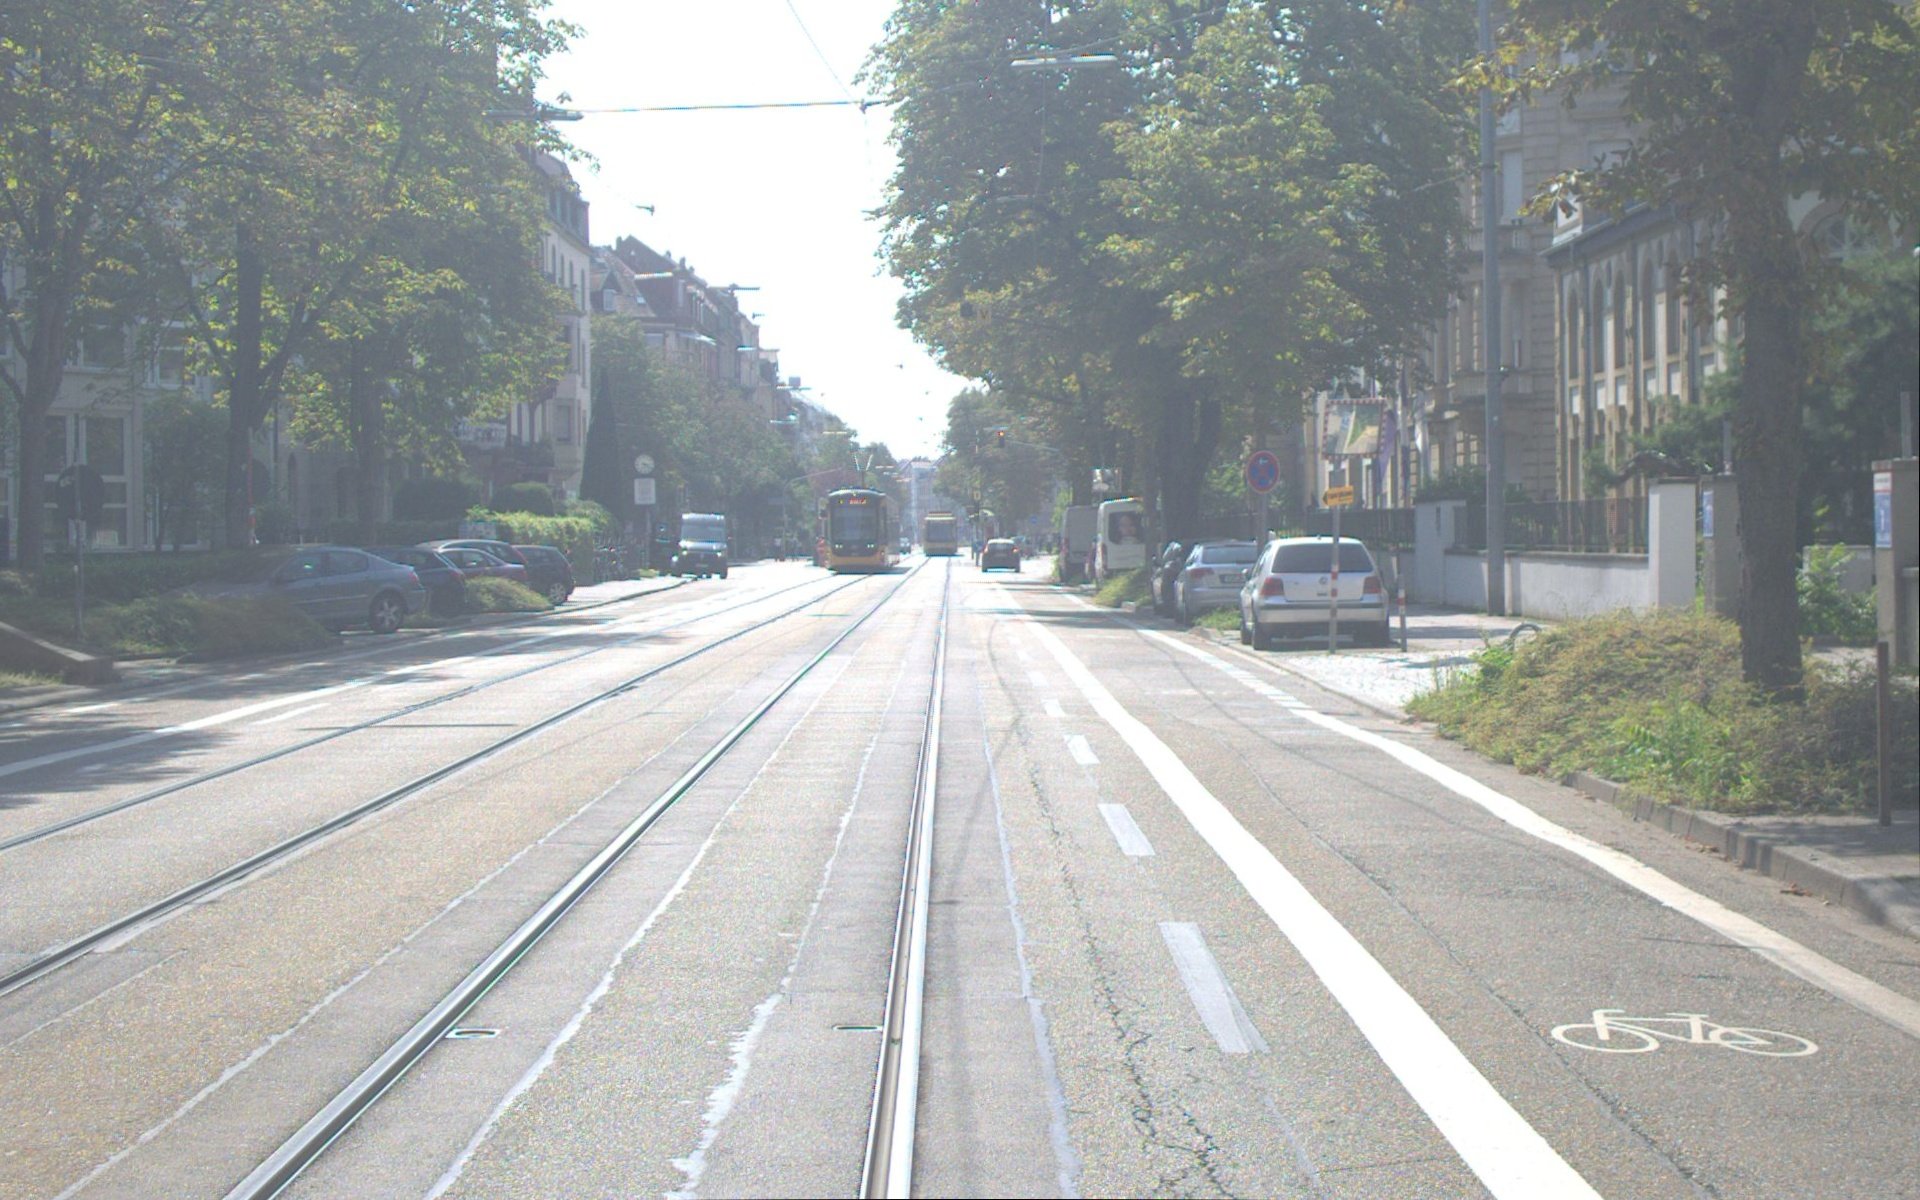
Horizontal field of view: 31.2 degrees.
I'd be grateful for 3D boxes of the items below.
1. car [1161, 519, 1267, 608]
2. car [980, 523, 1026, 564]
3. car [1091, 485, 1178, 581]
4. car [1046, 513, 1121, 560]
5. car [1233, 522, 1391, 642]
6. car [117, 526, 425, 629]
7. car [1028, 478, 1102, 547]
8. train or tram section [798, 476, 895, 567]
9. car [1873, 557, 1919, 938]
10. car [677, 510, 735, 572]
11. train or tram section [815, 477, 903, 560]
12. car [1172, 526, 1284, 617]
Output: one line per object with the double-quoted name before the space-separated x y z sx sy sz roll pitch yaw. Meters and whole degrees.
"car" 4.725 -0.704 64.383 1.794 1.571 4.000 0 2 2
"car" 1.902 -2.531 153.045 1.993 1.794 4.000 0 1 0
"car" 4.350 -1.690 86.201 1.993 2.357 4.000 0 1 0
"car" 3.790 -1.969 106.492 1.993 1.393 4.001 0 2 -3
"car" 4.537 -0.266 44.773 1.791 1.441 3.733 -1 1 2
"car" -10.964 -0.389 54.966 1.675 1.446 4.677 1 3 43
"car" 3.441 -2.889 113.349 1.993 2.226 4.001 -1 2 -5
"train or tram section" -4.724 -3.381 145.577 3.497 3.691 12.413 0 2 1
"car" 4.518 0.610 11.493 1.674 1.453 4.664 -1 2 0
"car" -10.039 -2.342 136.149 2.242 2.433 4.001 0 1 -3
"train or tram section" -4.564 -3.810 157.977 3.497 3.691 12.413 0 2 1
"car" 4.529 -0.512 58.457 1.641 1.506 3.641 0 1 0
